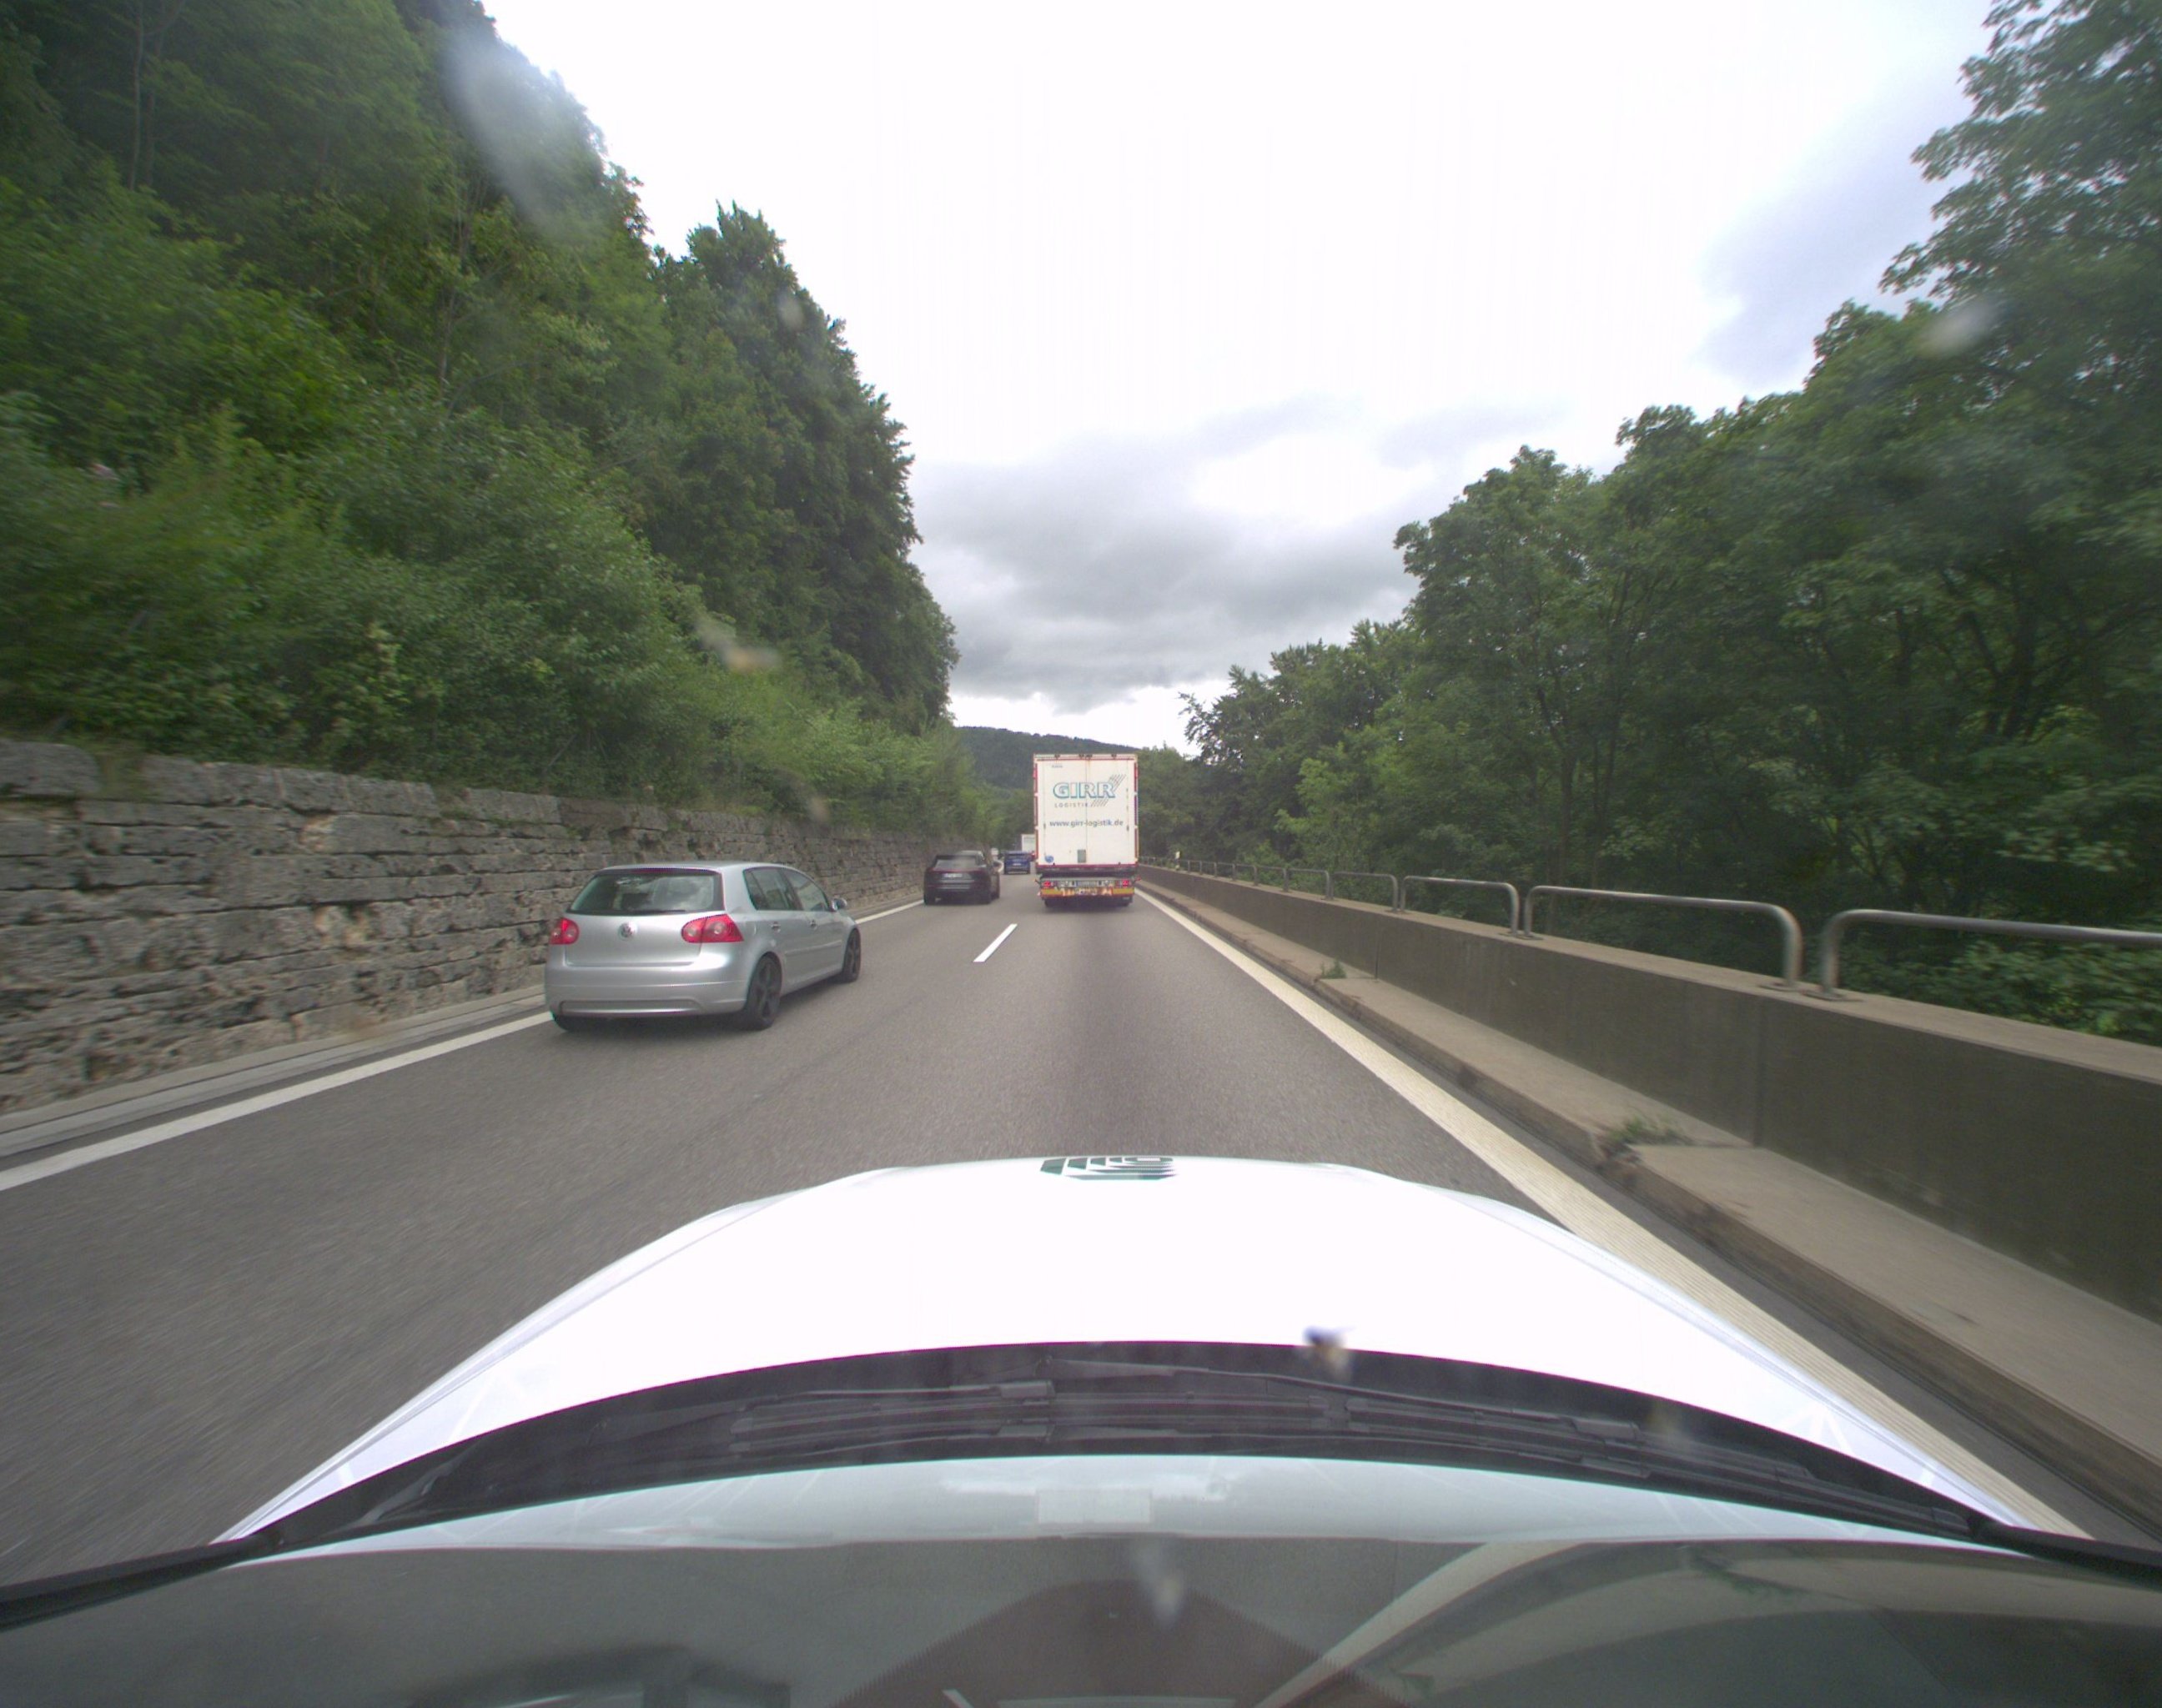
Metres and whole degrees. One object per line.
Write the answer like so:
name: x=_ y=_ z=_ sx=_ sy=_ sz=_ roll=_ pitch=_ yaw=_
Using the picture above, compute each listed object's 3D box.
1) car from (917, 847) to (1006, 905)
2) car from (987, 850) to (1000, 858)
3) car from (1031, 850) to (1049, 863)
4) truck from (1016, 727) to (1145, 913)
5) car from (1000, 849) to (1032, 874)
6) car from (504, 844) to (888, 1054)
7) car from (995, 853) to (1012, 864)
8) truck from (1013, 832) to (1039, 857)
car: x=-3.639 y=0.630 z=25.730 sx=1.986 sy=1.632 sz=5.009 roll=0 pitch=0 yaw=1
car: x=-17.261 y=0.015 z=159.911 sx=1.900 sy=1.550 sz=4.228 roll=1 pitch=0 yaw=-15
car: x=-5.533 y=0.285 z=108.867 sx=2.059 sy=1.654 sz=3.989 roll=-1 pitch=0 yaw=-8
truck: x=0.081 y=-0.827 z=27.350 sx=3.074 sy=4.464 sz=15.155 roll=-1 pitch=0 yaw=1
car: x=-4.603 y=0.523 z=57.148 sx=1.992 sy=1.632 sz=4.995 roll=-1 pitch=0 yaw=-8
car: x=-3.465 y=0.759 z=8.466 sx=1.675 sy=1.515 sz=4.584 roll=-2 pitch=-1 yaw=1
car: x=-11.979 y=0.682 z=126.411 sx=1.996 sy=1.596 sz=4.333 roll=-2 pitch=1 yaw=-14
truck: x=-8.933 y=-1.477 z=131.131 sx=2.635 sy=3.857 sz=12.311 roll=-1 pitch=0 yaw=-11
